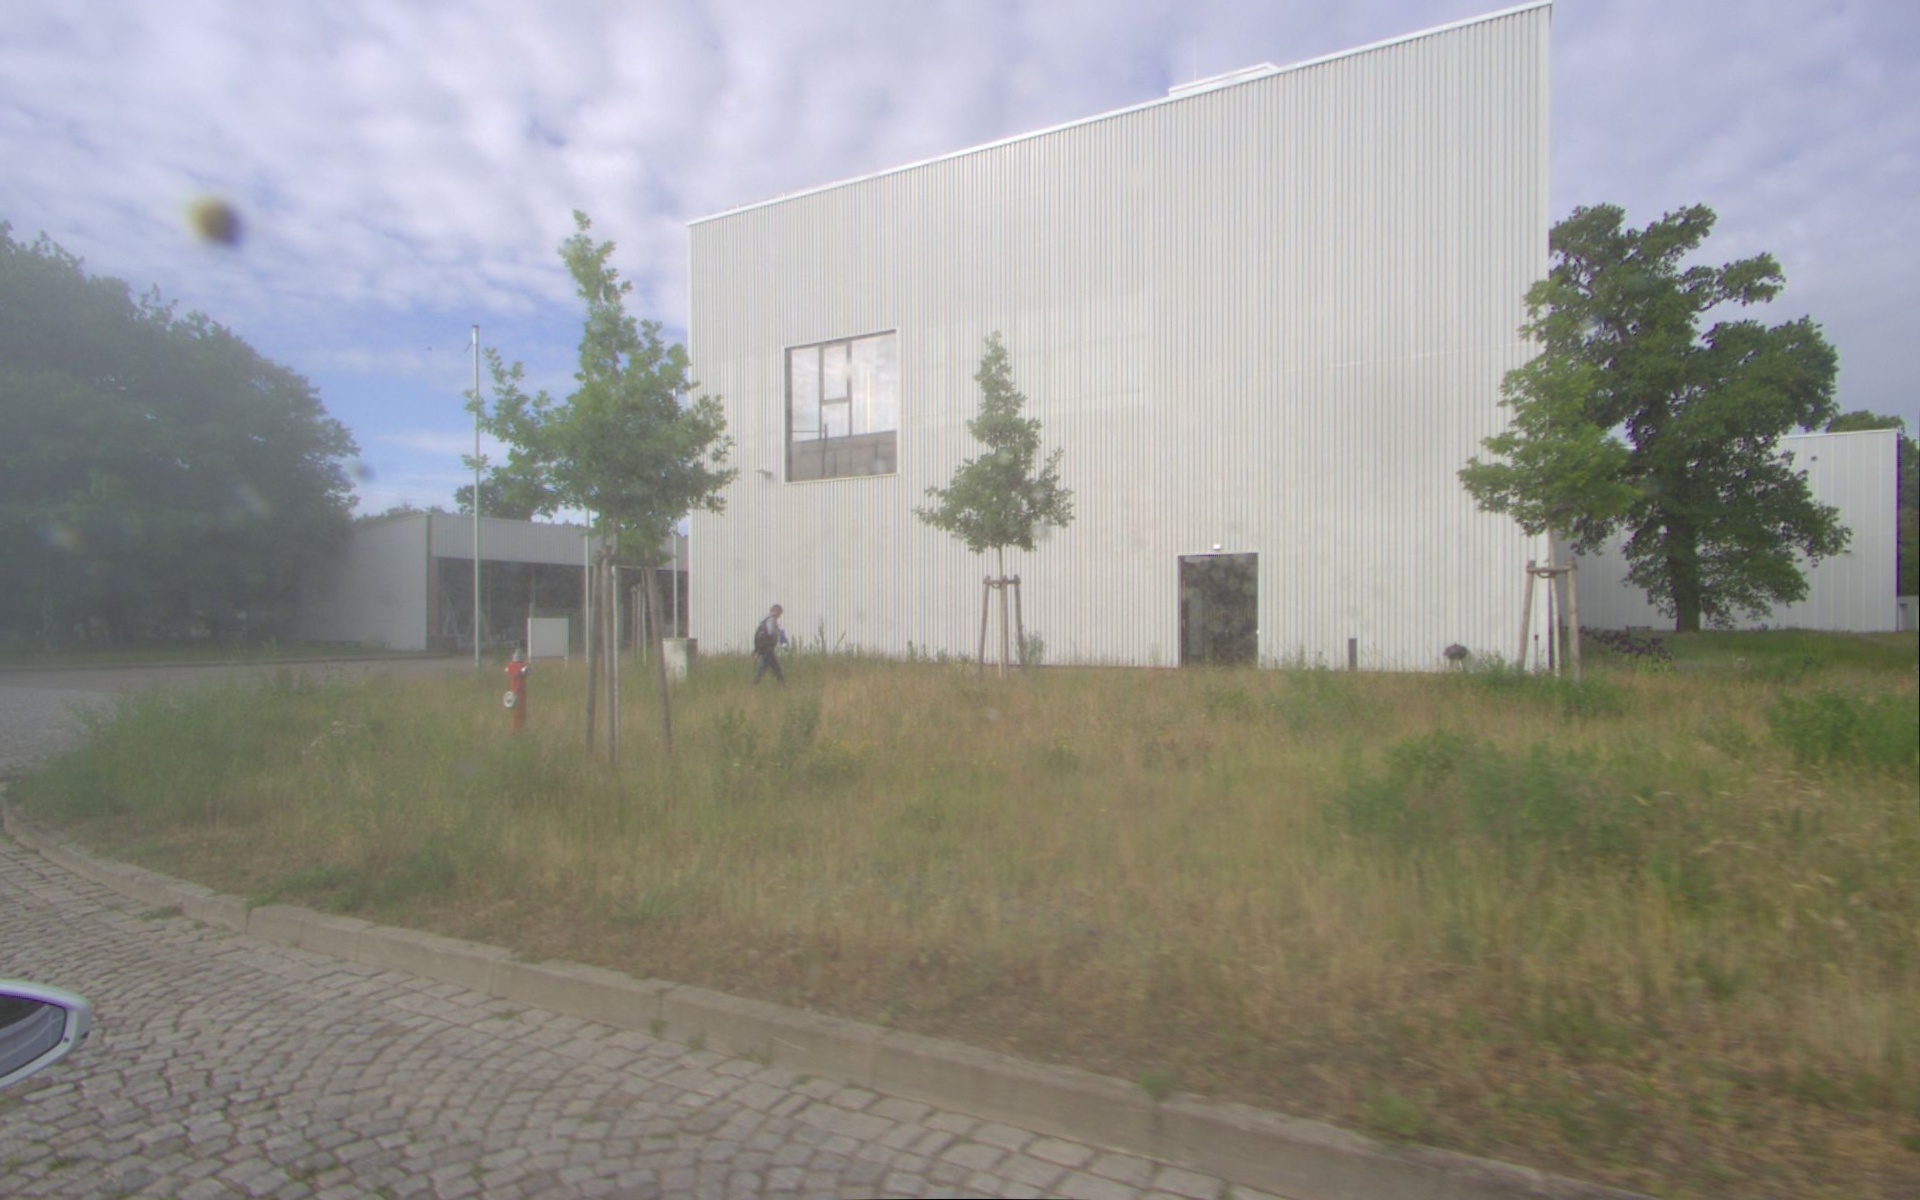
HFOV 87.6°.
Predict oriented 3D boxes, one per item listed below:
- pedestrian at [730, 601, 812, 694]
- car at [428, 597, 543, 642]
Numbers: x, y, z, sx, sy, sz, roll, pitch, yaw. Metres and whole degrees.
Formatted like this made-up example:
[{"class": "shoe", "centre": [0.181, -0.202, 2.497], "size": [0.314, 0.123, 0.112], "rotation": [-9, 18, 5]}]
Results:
[{"class": "pedestrian", "centre": [-3.337, 0.814, 17.650], "size": [1.066, 1.577, 1.067], "rotation": [0, 0, -37]}, {"class": "car", "centre": [-22.442, 0.921, 47.358], "size": [5.254, 2.040, 2.240], "rotation": [-1, 0, 28]}]
